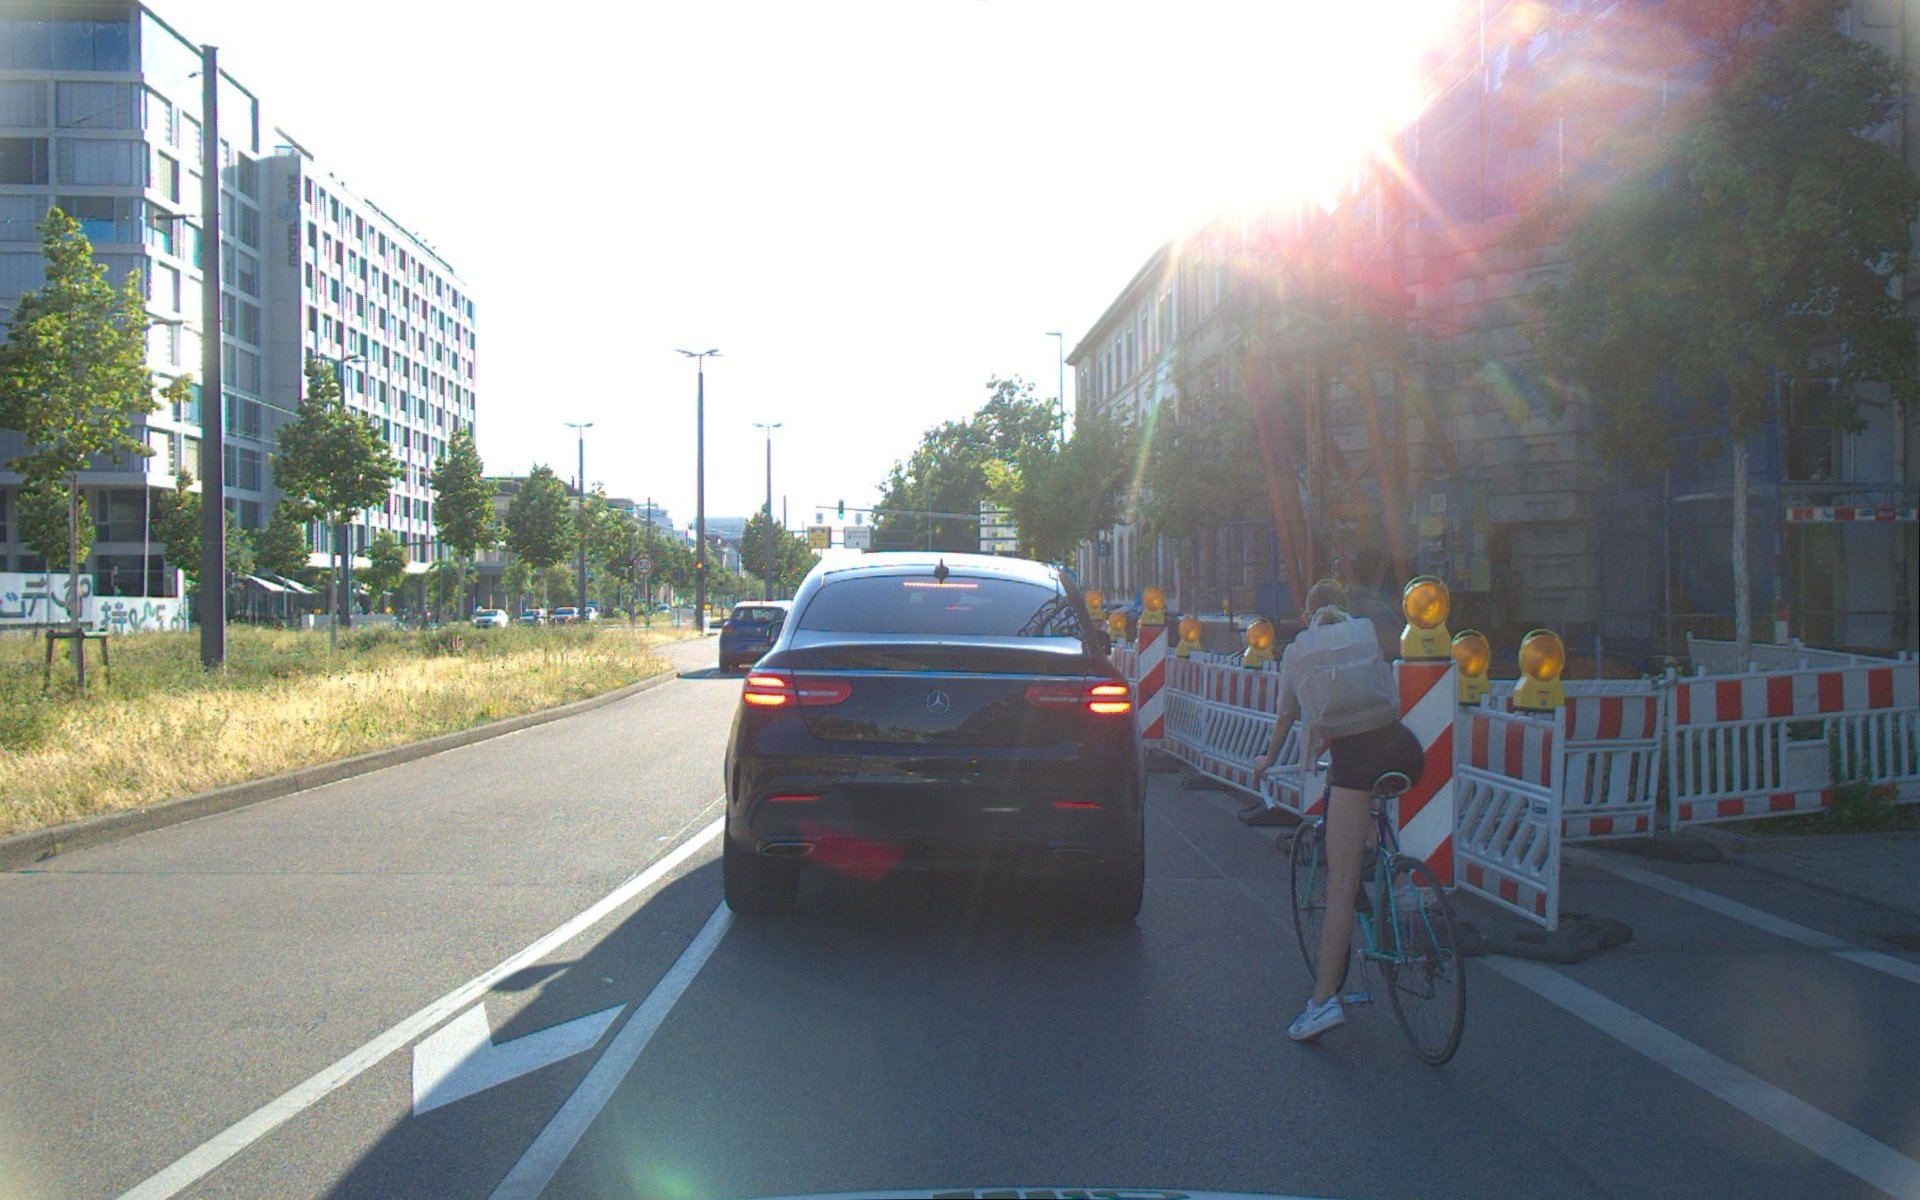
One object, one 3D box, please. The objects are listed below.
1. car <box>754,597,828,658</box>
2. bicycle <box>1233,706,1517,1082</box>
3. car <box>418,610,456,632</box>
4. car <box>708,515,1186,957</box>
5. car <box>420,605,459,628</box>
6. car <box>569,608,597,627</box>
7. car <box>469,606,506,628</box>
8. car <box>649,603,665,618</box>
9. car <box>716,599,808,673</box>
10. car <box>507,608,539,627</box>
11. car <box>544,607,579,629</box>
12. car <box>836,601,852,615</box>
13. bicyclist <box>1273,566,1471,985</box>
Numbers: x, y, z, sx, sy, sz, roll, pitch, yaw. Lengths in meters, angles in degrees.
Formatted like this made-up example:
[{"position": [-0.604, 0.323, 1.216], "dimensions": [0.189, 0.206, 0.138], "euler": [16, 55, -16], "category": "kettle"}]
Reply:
[{"position": [-4.319, 0.690, 42.695], "dimensions": [1.674, 1.467, 3.580], "euler": [1, 0, -3], "category": "car"}, {"position": [1.446, 0.979, 6.054], "dimensions": [0.502, 1.070, 1.724], "euler": [1, 0, -3], "category": "bicycle"}, {"position": [-36.986, 1.490, 116.997], "dimensions": [1.674, 1.467, 3.580], "euler": [1, 0, -3], "category": "car"}, {"position": [-0.078, 0.574, 8.855], "dimensions": [1.953, 1.803, 3.999], "euler": [1, 0, -1], "category": "car"}, {"position": [-35.195, 1.115, 111.923], "dimensions": [1.674, 1.467, 3.580], "euler": [1, 0, -3], "category": "car"}, {"position": [-31.022, 1.414, 136.187], "dimensions": [1.674, 1.467, 3.580], "euler": [1, 0, -3], "category": "car"}, {"position": [-32.814, 1.162, 115.008], "dimensions": [1.674, 1.467, 3.580], "euler": [1, 0, -3], "category": "car"}, {"position": [-42.075, 1.501, 229.797], "dimensions": [1.959, 2.049, 3.987], "euler": [1, 0, -13], "category": "car"}, {"position": [-4.179, 0.740, 35.347], "dimensions": [1.674, 1.467, 3.580], "euler": [1, 0, -3], "category": "car"}, {"position": [-33.806, 1.334, 127.998], "dimensions": [1.674, 1.467, 3.580], "euler": [1, 0, -3], "category": "car"}, {"position": [-27.529, 1.247, 114.445], "dimensions": [1.674, 1.467, 3.580], "euler": [1, 0, -3], "category": "car"}, {"position": [-12.880, 0.912, 183.938], "dimensions": [1.674, 1.467, 3.580], "euler": [1, 0, -3], "category": "car"}, {"position": [1.460, 0.598, 5.929], "dimensions": [0.512, 1.420, 0.614], "euler": [1, -1, -4], "category": "bicyclist"}]
